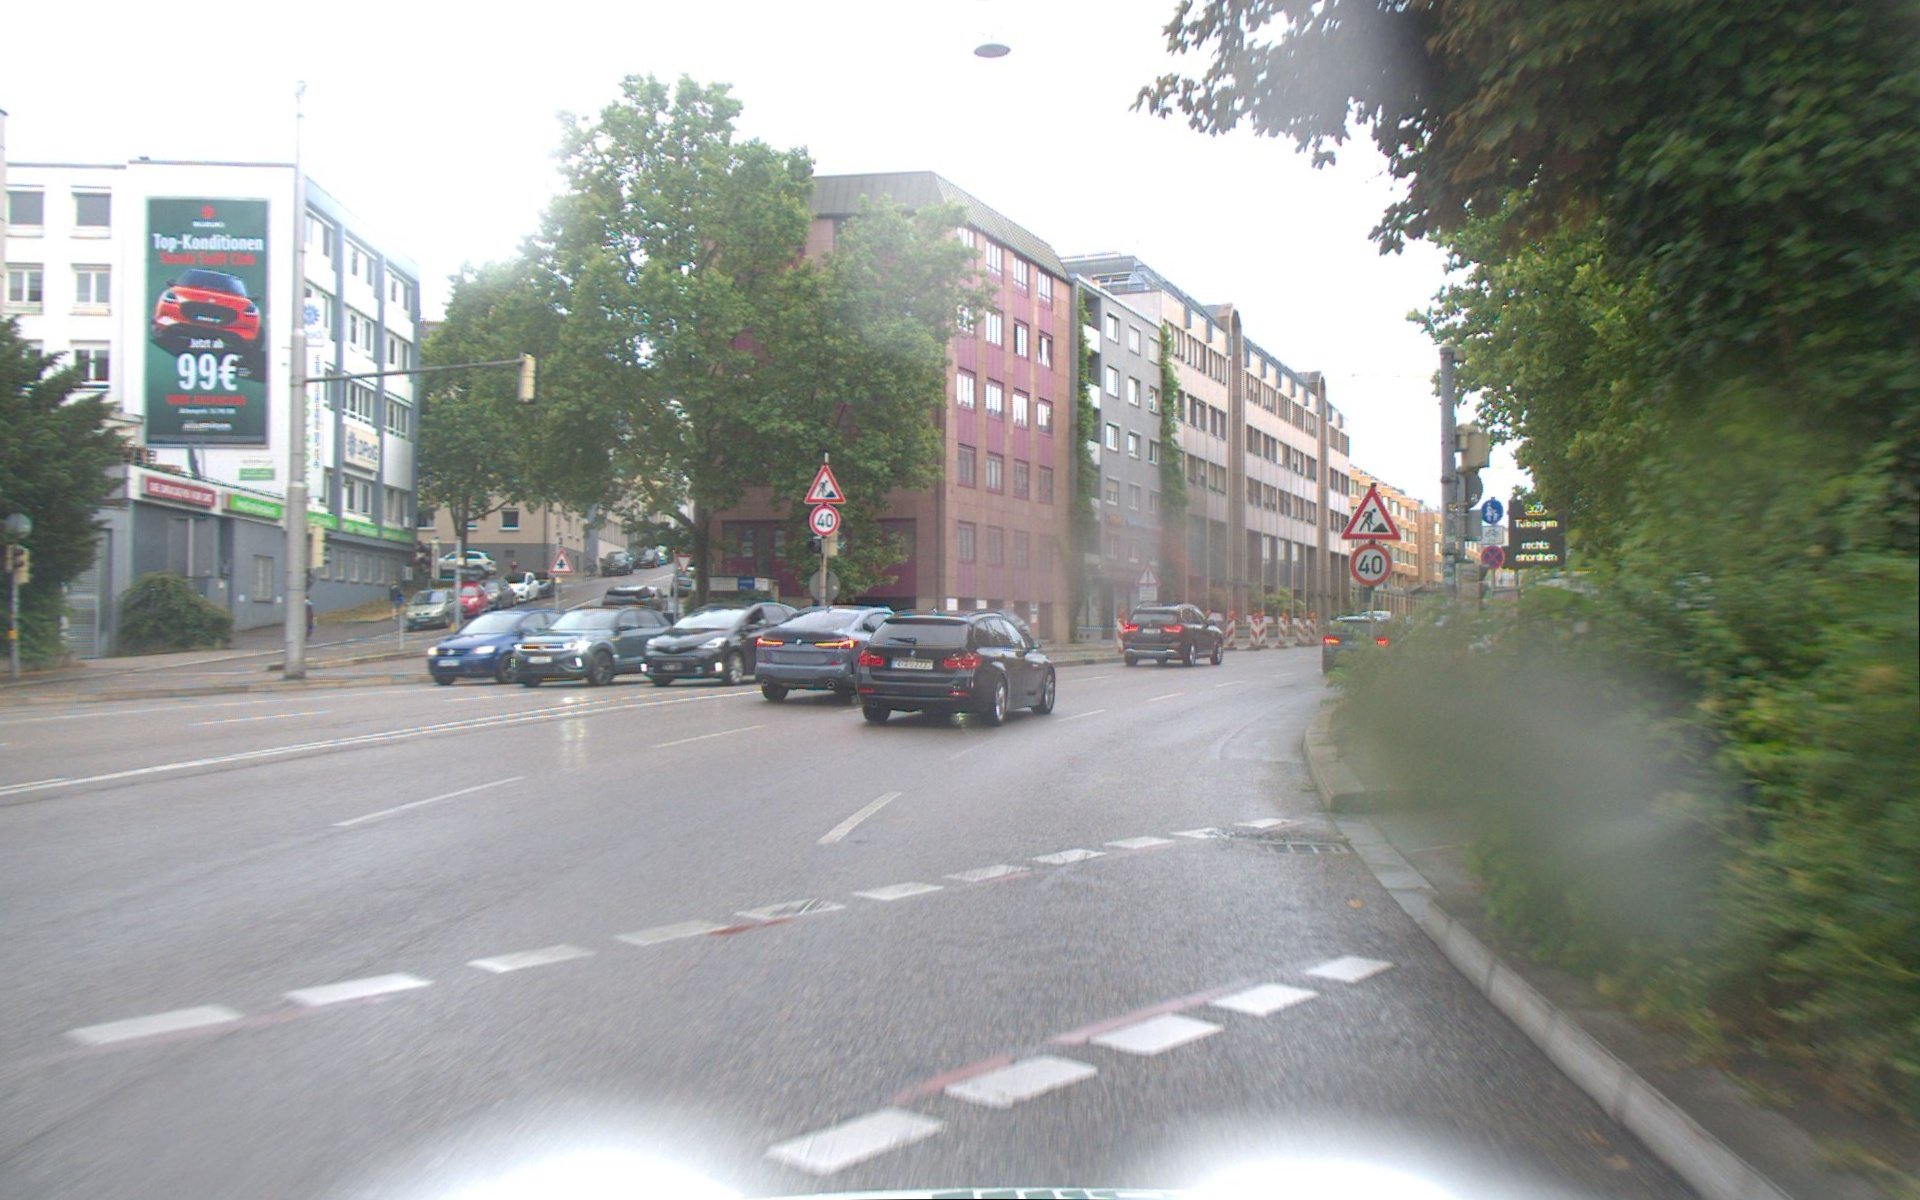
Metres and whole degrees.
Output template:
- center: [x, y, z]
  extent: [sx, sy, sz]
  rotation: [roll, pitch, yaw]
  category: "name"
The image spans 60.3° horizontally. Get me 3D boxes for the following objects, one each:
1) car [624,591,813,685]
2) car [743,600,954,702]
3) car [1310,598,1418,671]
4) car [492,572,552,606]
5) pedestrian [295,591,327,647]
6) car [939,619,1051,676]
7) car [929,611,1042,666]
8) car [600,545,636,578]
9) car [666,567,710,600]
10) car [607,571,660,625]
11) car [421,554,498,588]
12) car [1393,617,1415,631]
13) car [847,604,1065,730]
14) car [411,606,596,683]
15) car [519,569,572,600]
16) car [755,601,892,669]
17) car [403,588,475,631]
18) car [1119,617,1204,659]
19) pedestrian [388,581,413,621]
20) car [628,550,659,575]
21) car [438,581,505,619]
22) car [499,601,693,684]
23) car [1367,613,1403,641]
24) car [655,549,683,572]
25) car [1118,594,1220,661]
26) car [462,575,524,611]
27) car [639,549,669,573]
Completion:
- center: [-4.619, 0.721, 32.368]
  extent: [1.814, 1.651, 4.594]
  rotation: [-2, -1, 17]
  category: "car"
- center: [-1.634, 0.776, 25.866]
  extent: [1.753, 1.451, 4.386]
  rotation: [-1, -1, 18]
  category: "car"
- center: [10.203, 0.860, 41.555]
  extent: [1.862, 1.723, 3.997]
  rotation: [-1, -1, 25]
  category: "car"
- center: [-22.384, -0.581, 84.669]
  extent: [1.794, 1.455, 4.073]
  rotation: [-1, 4, 2]
  category: "car"
- center: [-23.710, 0.698, 60.466]
  extent: [0.822, 2.049, 0.981]
  rotation: [-1, -2, -3]
  category: "pedestrian"
- center: [1.182, 1.497, 53.335]
  extent: [1.953, 1.707, 4.936]
  rotation: [-2, -1, 22]
  category: "car"
- center: [0.753, 1.051, 45.341]
  extent: [1.730, 1.442, 4.081]
  rotation: [-1, -1, 22]
  category: "car"
- center: [-23.729, -2.645, 114.799]
  extent: [1.954, 2.049, 3.996]
  rotation: [-1, -1, -4]
  category: "car"
- center: [-15.135, -0.942, 92.120]
  extent: [1.892, 1.703, 3.999]
  rotation: [-1, 2, -2]
  category: "car"
- center: [-13.537, -0.101, 68.757]
  extent: [1.894, 1.900, 3.995]
  rotation: [1, 4, -8]
  category: "car"
- center: [-31.254, -1.801, 103.339]
  extent: [4.333, 2.041, 1.997]
  rotation: [-1, -1, -7]
  category: "car"
- center: [54.303, 2.933, 202.175]
  extent: [1.953, 1.648, 4.316]
  rotation: [-1, -1, 24]
  category: "car"
- center: [0.077, 0.802, 22.050]
  extent: [1.753, 1.451, 4.616]
  rotation: [1, 0, 15]
  category: "car"
- center: [-9.635, 0.938, 35.251]
  extent: [1.725, 1.539, 4.121]
  rotation: [-1, -1, 20]
  category: "car"
- center: [-22.378, -0.870, 89.332]
  extent: [1.795, 1.455, 4.071]
  rotation: [-1, 3, 0]
  category: "car"
- center: [-3.561, 0.937, 44.145]
  extent: [1.730, 1.712, 4.589]
  rotation: [-1, -1, 22]
  category: "car"
- center: [-21.841, 0.364, 69.443]
  extent: [1.796, 1.488, 4.177]
  rotation: [-1, 4, -2]
  category: "car"
- center: [7.629, 1.408, 62.189]
  extent: [1.953, 1.463, 4.936]
  rotation: [-2, -1, 22]
  category: "car"
- center: [-24.705, 0.040, 73.068]
  extent: [0.822, 1.748, 0.981]
  rotation: [-1, -2, -3]
  category: "pedestrian"
- center: [-24.578, -2.935, 128.560]
  extent: [1.954, 1.874, 3.998]
  rotation: [-1, 3, -4]
  category: "car"
- center: [-22.180, -0.034, 75.255]
  extent: [1.795, 1.455, 4.071]
  rotation: [-1, 4, 0]
  category: "car"
- center: [-7.153, 0.833, 32.960]
  extent: [1.780, 1.539, 4.233]
  rotation: [-1, -1, 20]
  category: "car"
- center: [31.950, 2.032, 124.293]
  extent: [1.953, 2.025, 5.288]
  rotation: [-1, -1, 22]
  category: "car"
- center: [-25.468, -3.490, 144.729]
  extent: [1.954, 1.874, 3.998]
  rotation: [-1, 3, -4]
  category: "car"
- center: [5.745, 0.767, 45.132]
  extent: [1.861, 1.723, 4.000]
  rotation: [-1, -1, 21]
  category: "car"
- center: [-22.487, -0.357, 79.729]
  extent: [1.795, 1.455, 4.071]
  rotation: [-1, 4, 0]
  category: "car"
- center: [-24.959, -3.194, 134.882]
  extent: [1.954, 1.874, 3.998]
  rotation: [-1, 3, -4]
  category: "car"
